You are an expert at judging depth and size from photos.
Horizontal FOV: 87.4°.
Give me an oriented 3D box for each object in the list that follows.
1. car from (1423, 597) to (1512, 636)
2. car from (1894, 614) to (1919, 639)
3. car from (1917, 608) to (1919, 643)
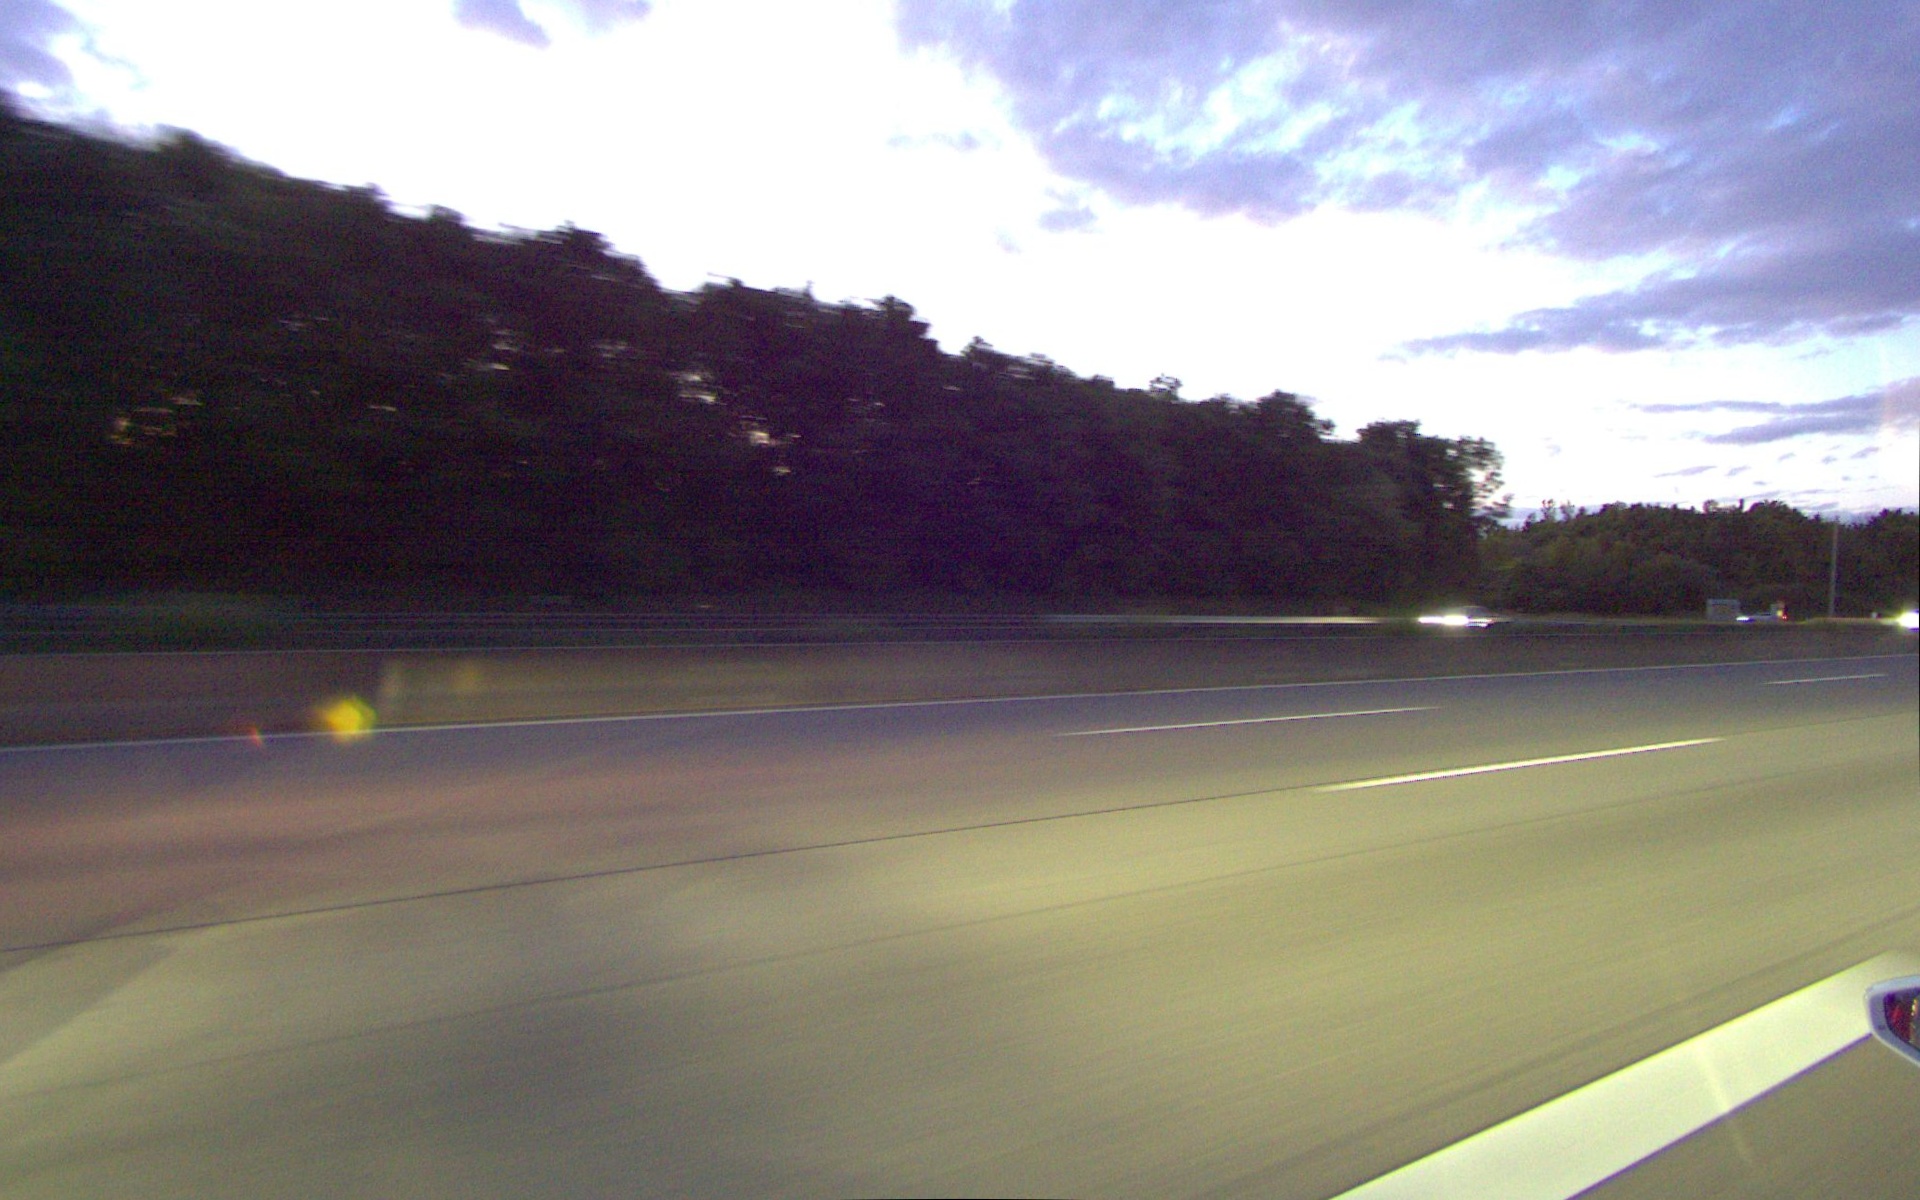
[{"bbox_3d":[27.801,0.932,55.000,4.953,2.040,1.983,1,0,-31],"label":"car"},{"bbox_3d":[66.199,1.831,68.785,4.954,1.687,1.983,1,0,-32],"label":"car"},{"bbox_3d":[59.035,1.555,59.711,4.435,2.040,1.984,1,0,-30],"label":"car"}]
